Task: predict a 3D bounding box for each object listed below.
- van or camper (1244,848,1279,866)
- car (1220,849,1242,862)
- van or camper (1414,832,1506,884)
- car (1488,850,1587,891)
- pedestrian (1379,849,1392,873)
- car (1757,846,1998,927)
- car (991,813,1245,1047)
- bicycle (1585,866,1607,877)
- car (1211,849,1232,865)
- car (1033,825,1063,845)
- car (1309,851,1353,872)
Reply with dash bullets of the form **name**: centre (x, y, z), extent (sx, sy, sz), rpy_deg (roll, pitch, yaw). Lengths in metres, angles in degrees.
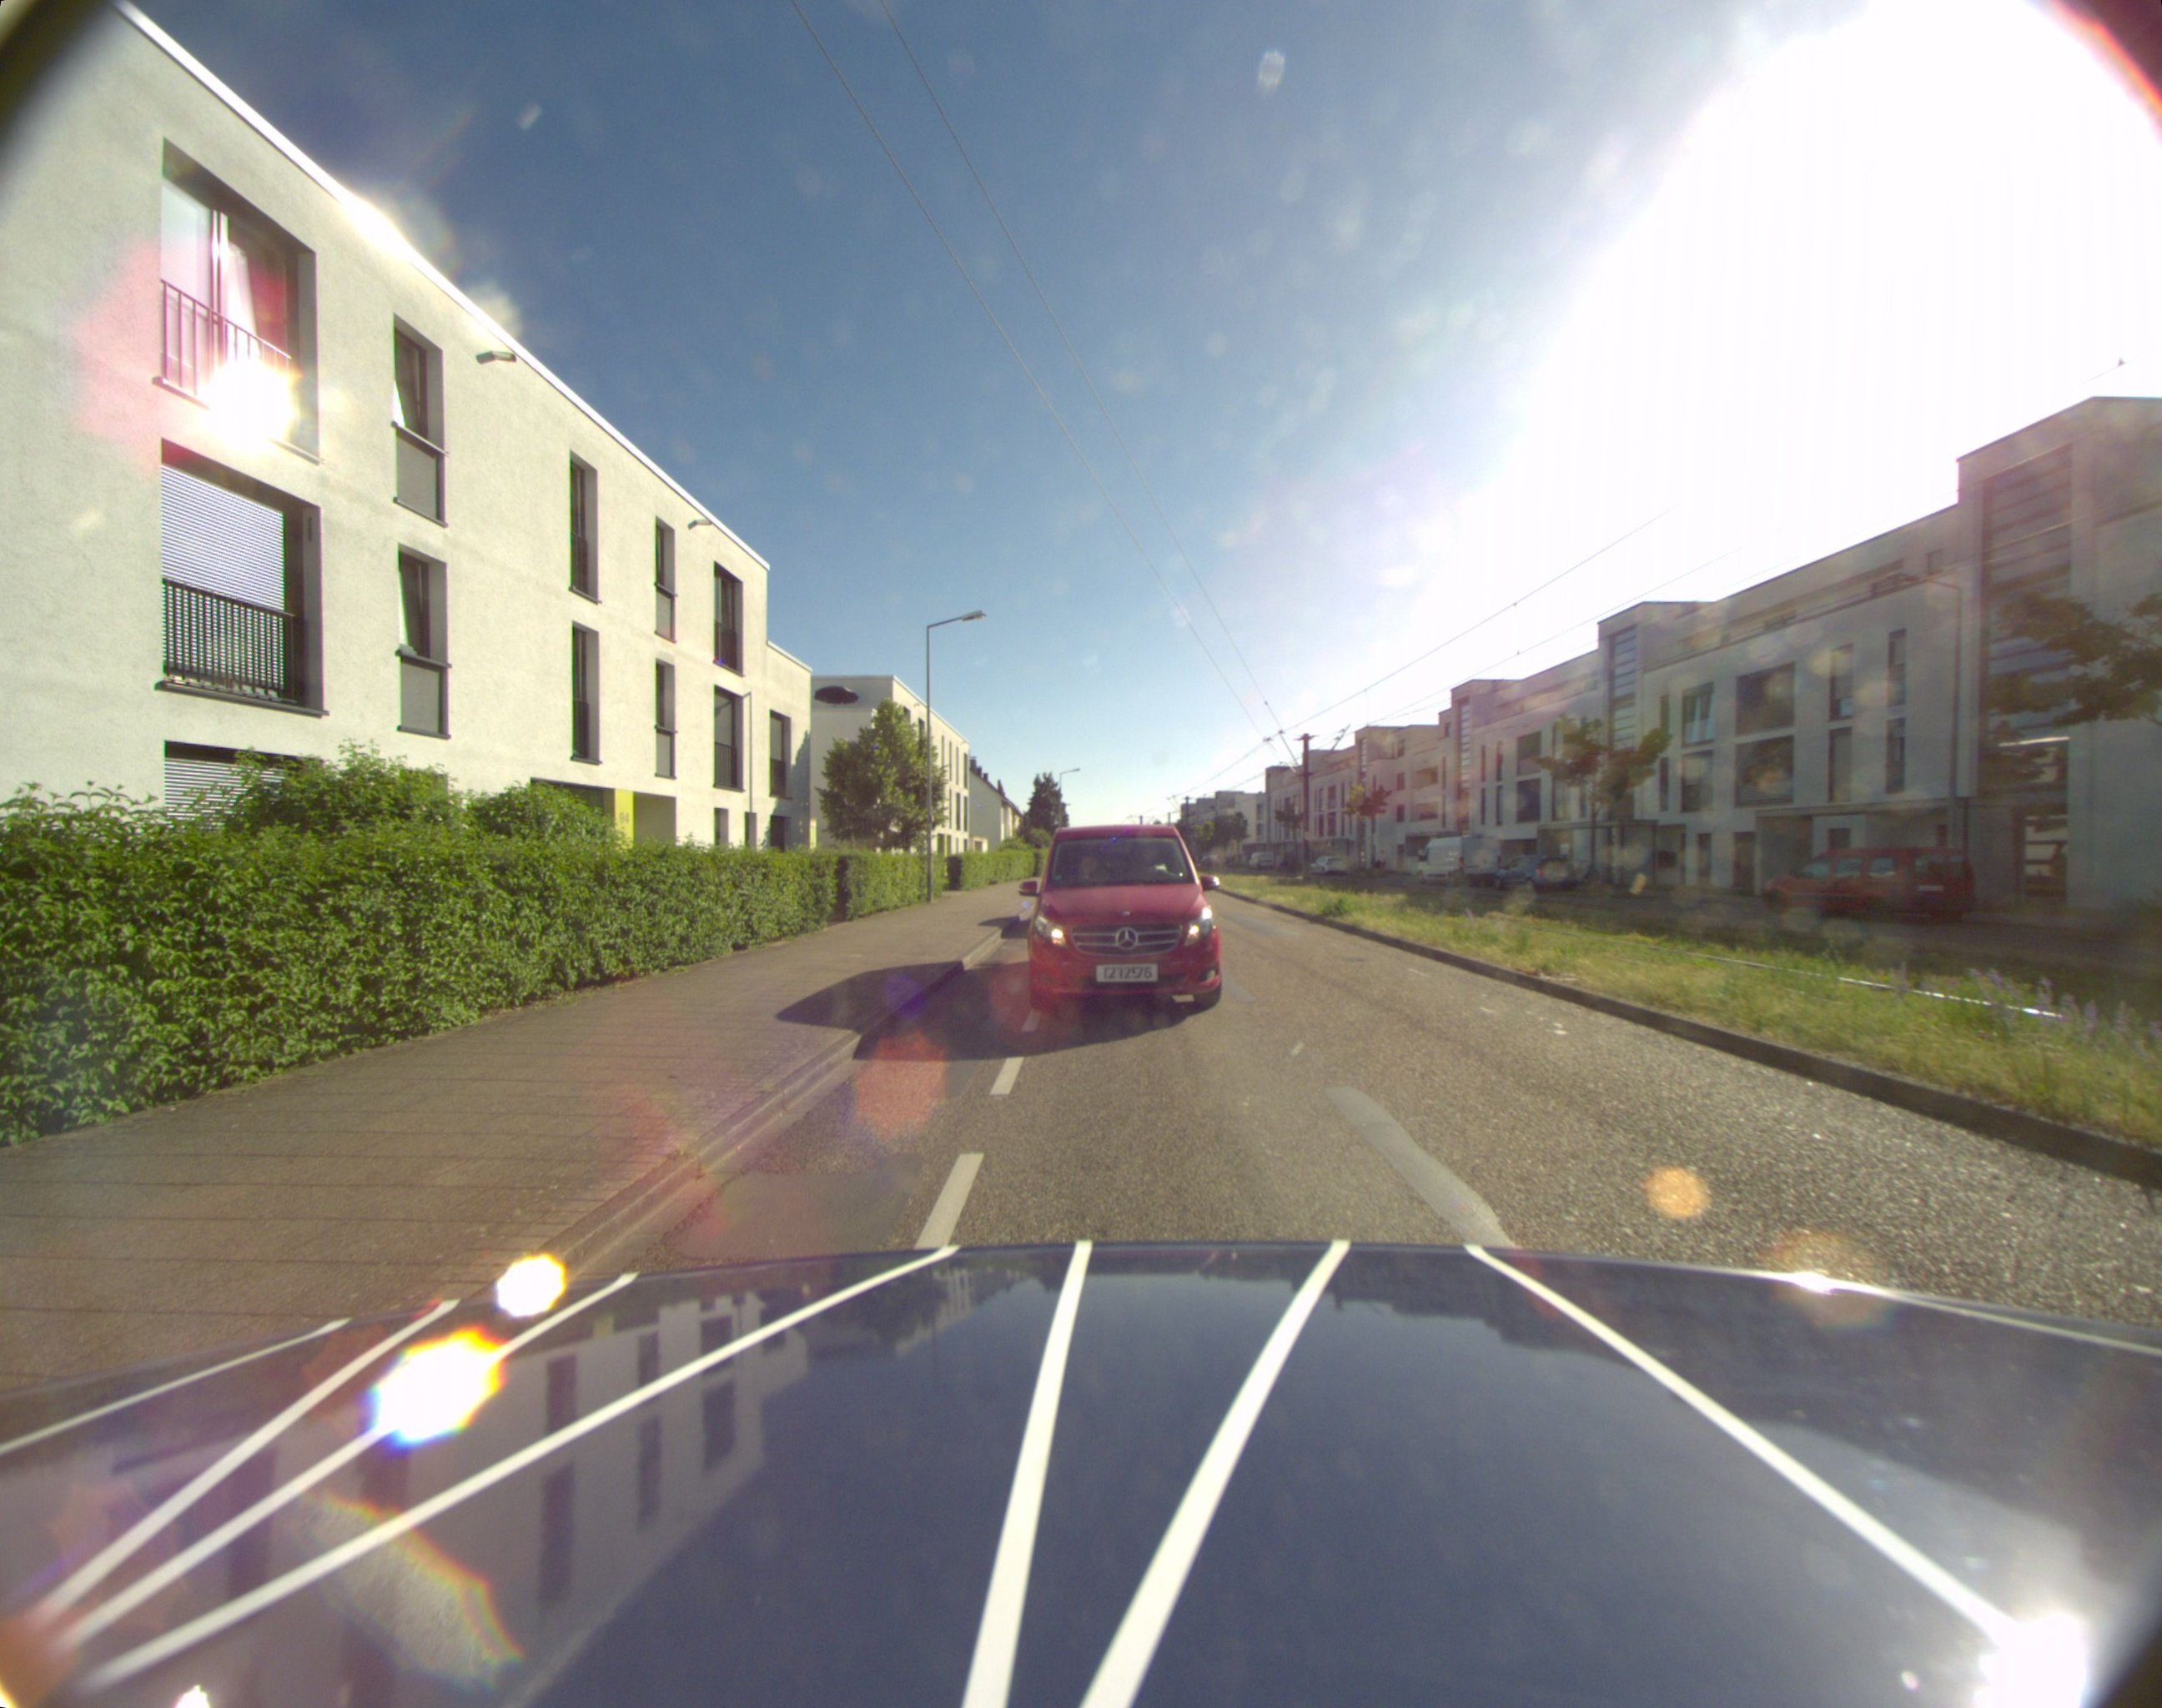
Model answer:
- **van or camper**: centre (19.194, 0.255, 80.994), extent (2.272, 1.838, 6.285), rpy_deg (-1, 0, 1)
- **car**: centre (18.228, 0.191, 92.465), extent (1.866, 1.430, 3.496), rpy_deg (-2, 1, -2)
- **van or camper**: centre (19.243, 0.166, 38.899), extent (2.197, 2.450, 5.260), rpy_deg (0, 0, 1)
- **car**: centre (19.204, 0.650, 32.147), extent (1.934, 1.604, 3.836), rpy_deg (0, 0, 1)
- **pedestrian**: centre (21.927, 0.497, 54.660), extent (0.619, 1.634, 0.612), rpy_deg (-2, 1, -5)
- **car**: centre (19.001, 0.692, 18.424), extent (1.793, 1.713, 3.908), rpy_deg (1, 1, 3)
- **car**: centre (0.428, 0.661, 9.095), extent (2.127, 1.958, 5.084), rpy_deg (-2, 0, 2)
- **bicycle**: centre (25.924, 0.887, 38.251), extent (0.354, 0.495, 1.061), rpy_deg (0, 0, 1)
- **car**: centre (18.380, 0.362, 99.680), extent (1.787, 2.002, 3.999), rpy_deg (-2, 1, -2)
- **car**: centre (-4.078, -2.325, 94.929), extent (3.182, 2.333, 6.175), rpy_deg (-2, 1, 3)
- **car**: centre (19.529, 0.559, 59.483), extent (2.046, 1.577, 4.120), rpy_deg (0, 0, -1)
